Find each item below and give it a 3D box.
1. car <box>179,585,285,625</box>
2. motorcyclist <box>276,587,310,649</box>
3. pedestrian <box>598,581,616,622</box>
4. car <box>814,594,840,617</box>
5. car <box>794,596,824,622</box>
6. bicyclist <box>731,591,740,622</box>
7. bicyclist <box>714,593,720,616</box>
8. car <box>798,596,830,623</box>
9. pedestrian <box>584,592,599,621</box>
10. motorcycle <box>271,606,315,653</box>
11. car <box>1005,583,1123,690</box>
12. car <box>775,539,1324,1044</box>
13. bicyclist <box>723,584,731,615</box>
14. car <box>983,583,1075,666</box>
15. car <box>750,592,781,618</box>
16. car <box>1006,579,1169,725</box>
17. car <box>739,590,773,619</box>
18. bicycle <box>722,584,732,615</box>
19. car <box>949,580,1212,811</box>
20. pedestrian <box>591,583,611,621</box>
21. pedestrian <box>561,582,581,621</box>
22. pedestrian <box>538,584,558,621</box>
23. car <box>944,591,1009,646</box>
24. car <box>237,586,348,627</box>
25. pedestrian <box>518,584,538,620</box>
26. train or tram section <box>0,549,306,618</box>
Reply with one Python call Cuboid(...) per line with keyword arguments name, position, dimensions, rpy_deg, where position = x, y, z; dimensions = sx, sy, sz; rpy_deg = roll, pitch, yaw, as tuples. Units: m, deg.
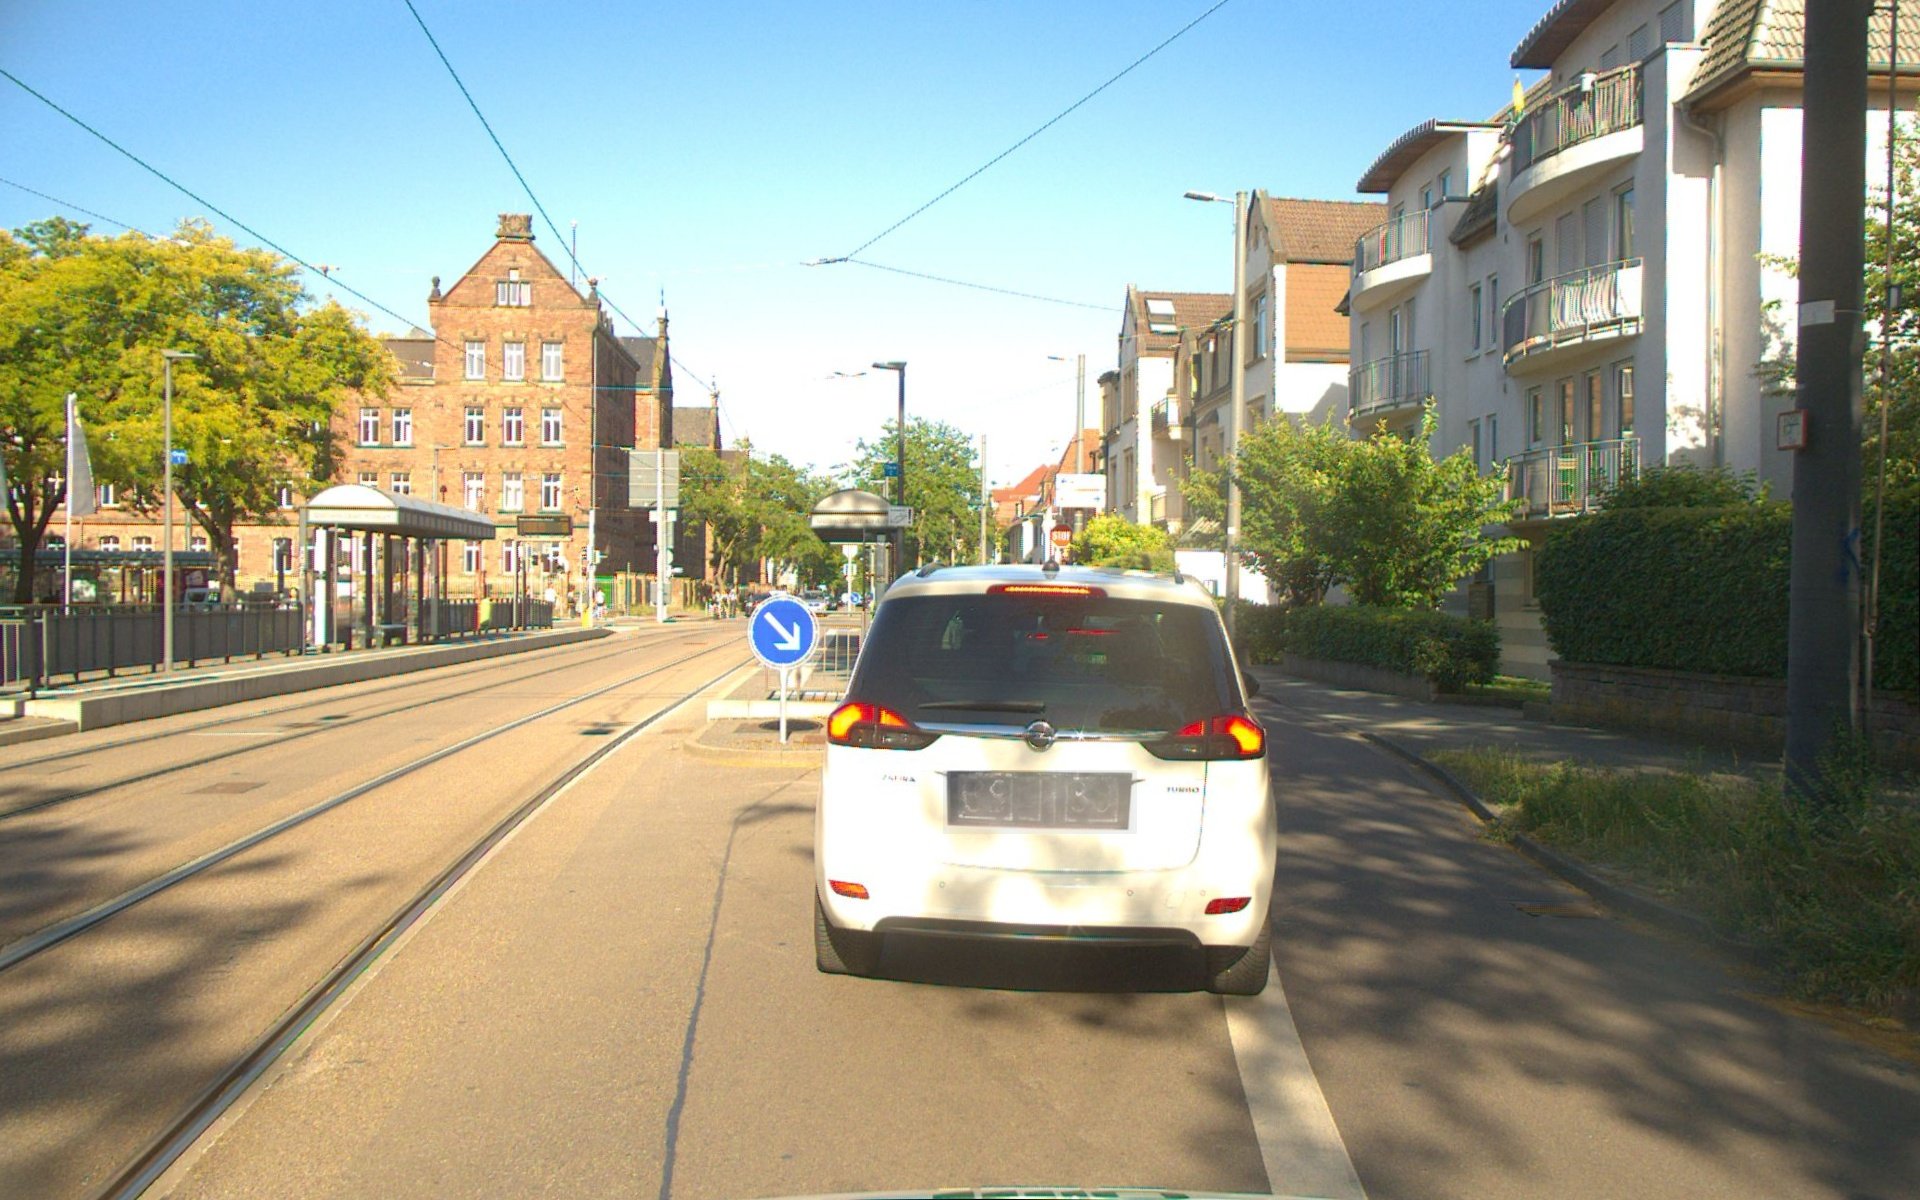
Cuboid(name="car", position=(-32.448, 0.227, 73.823), dimensions=(3.908, 1.658, 1.817), rpy_deg=(1, 0, -4))
Cuboid(name="motorcyclist", position=(-16.041, 0.432, 39.779), dimensions=(0.671, 1.466, 0.445), rpy_deg=(0, 0, -11))
Cuboid(name="pedestrian", position=(-18.085, 0.088, 84.696), dimensions=(0.782, 2.049, 0.717), rpy_deg=(1, -1, -18))
Cuboid(name="car", position=(-10.361, 0.434, 128.905), dimensions=(1.711, 1.746, 3.999), rpy_deg=(1, 0, -1))
Cuboid(name="car", position=(-10.474, 0.591, 115.049), dimensions=(1.711, 1.746, 3.999), rpy_deg=(1, 0, -1))
Cuboid(name="bicyclist", position=(-15.123, 0.420, 111.337), dimensions=(0.478, 2.049, 0.502), rpy_deg=(1, -1, -1))
Cuboid(name="bicyclist", position=(-15.108, 0.287, 102.807), dimensions=(0.307, 1.469, 0.384), rpy_deg=(0, 0, -1))
Cuboid(name="car", position=(-9.456, 0.614, 107.207), dimensions=(1.711, 1.746, 3.999), rpy_deg=(1, 0, -1))
Cuboid(name="pedestrian", position=(-21.139, 0.369, 94.949), dimensions=(0.640, 1.640, 0.711), rpy_deg=(1, -1, 1))
Cuboid(name="motorcycle", position=(-16.059, 0.698, 39.859), dimensions=(0.598, 1.112, 1.852), rpy_deg=(0, 0, -10))
Cuboid(name="car", position=(1.791, 0.574, 28.293), dimensions=(1.867, 1.690, 4.002), rpy_deg=(0, 0, 4))
Cuboid(name="car", position=(0.510, 0.632, 7.638), dimensions=(1.866, 1.690, 4.003), rpy_deg=(0, 0, 6))
Cuboid(name="bicyclist", position=(-15.348, -0.025, 108.987), dimensions=(0.488, 2.049, 0.572), rpy_deg=(0, 0, -1))
Cuboid(name="car", position=(1.448, 0.500, 36.126), dimensions=(1.868, 1.690, 4.000), rpy_deg=(0, 0, 0))
Cuboid(name="car", position=(-13.310, 0.352, 113.503), dimensions=(1.711, 1.746, 3.999), rpy_deg=(1, 0, -1))
Cuboid(name="car", position=(1.683, 0.585, 21.014), dimensions=(1.866, 1.653, 4.003), rpy_deg=(0, 0, 6))
Cuboid(name="car", position=(-13.164, 0.293, 106.839), dimensions=(1.711, 1.746, 3.999), rpy_deg=(1, 0, -1))
Cuboid(name="bicycle", position=(-15.347, -0.026, 109.009), dimensions=(0.477, 2.049, 1.405), rpy_deg=(0, 0, -1))
Cuboid(name="car", position=(1.072, 0.668, 13.781), dimensions=(1.866, 1.625, 4.003), rpy_deg=(0, 0, 6))
Cuboid(name="pedestrian", position=(-19.258, 0.113, 88.672), dimensions=(0.789, 2.049, 0.711), rpy_deg=(1, -1, -38))
Cuboid(name="pedestrian", position=(-20.712, 0.085, 88.027), dimensions=(0.788, 2.049, 0.712), rpy_deg=(1, -1, -34))
Cuboid(name="pedestrian", position=(-22.077, 0.144, 88.647), dimensions=(0.791, 1.934, 0.744), rpy_deg=(1, -1, 13))
Cuboid(name="car", position=(0.503, 0.550, 53.088), dimensions=(1.869, 1.690, 3.998), rpy_deg=(0, 0, -2))
Cuboid(name="car", position=(-28.116, 0.273, 69.750), dimensions=(3.908, 1.658, 1.817), rpy_deg=(1, 0, -4))
Cuboid(name="pedestrian", position=(-23.297, 0.125, 89.208), dimensions=(0.791, 1.934, 0.744), rpy_deg=(1, -1, 15))
Cuboid(name="train or tram section", position=(-40.751, -0.752, 79.424), dimensions=(17.048, 3.210, 3.343), rpy_deg=(0, 0, -6))
